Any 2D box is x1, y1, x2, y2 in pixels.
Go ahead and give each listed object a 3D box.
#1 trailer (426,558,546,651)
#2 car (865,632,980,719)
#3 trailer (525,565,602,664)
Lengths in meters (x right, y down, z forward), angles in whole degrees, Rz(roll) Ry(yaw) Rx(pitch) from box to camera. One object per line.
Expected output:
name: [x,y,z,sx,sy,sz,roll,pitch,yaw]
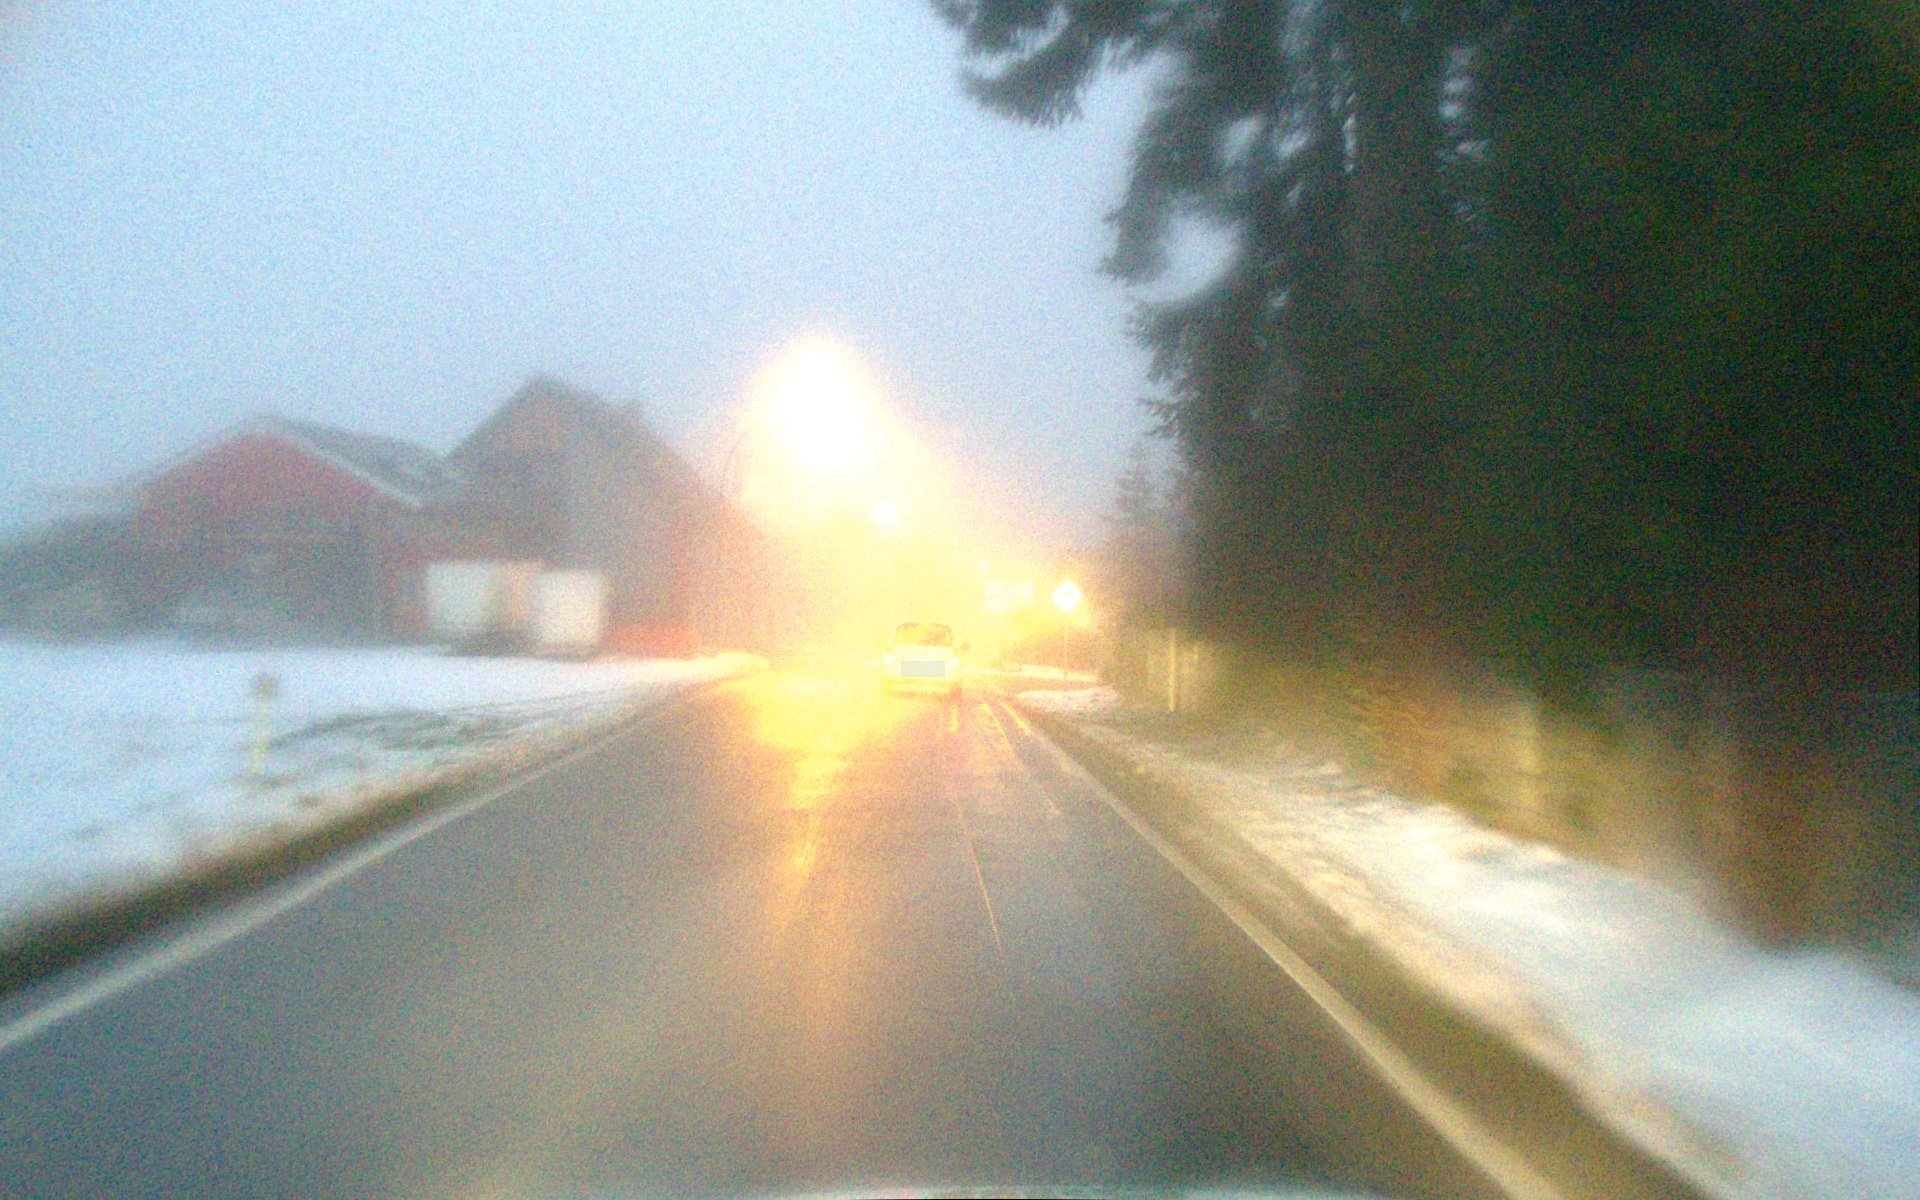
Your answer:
trailer: [-13.609,0.132,47.734,1.951,2.533,4.013,-1,0,6]
car: [-0.678,1.452,32.895,1.952,1.534,4.001,-1,0,3]
trailer: [-11.105,0.399,46.198,1.665,2.651,3.423,-1,0,-21]
